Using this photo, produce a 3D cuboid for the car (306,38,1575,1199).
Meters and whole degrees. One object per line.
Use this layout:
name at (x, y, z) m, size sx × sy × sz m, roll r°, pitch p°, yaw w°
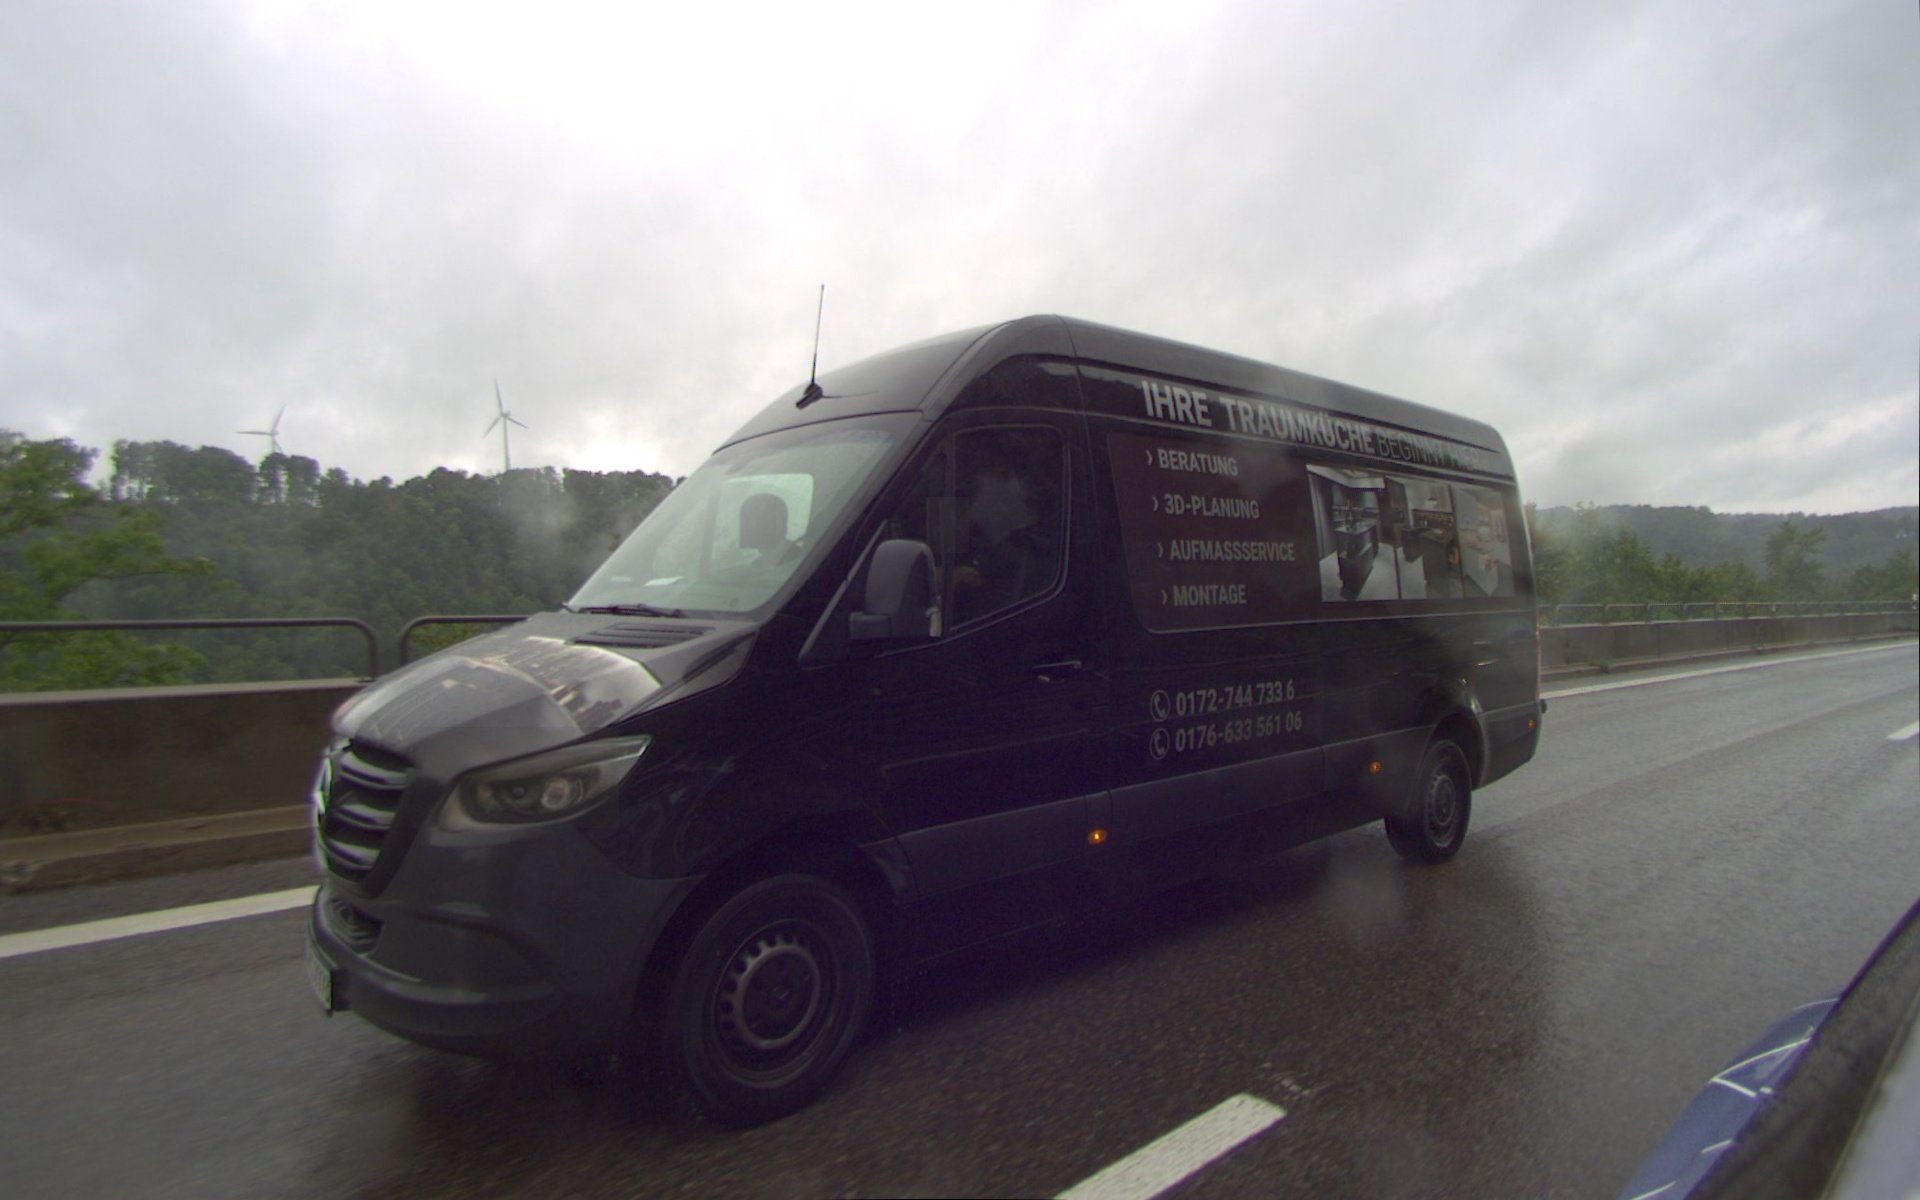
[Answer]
car at (0.801, 0.091, 5.024) m, size 6.588 × 2.525 × 1.997 m, roll 0°, pitch 0°, yaw -41°
